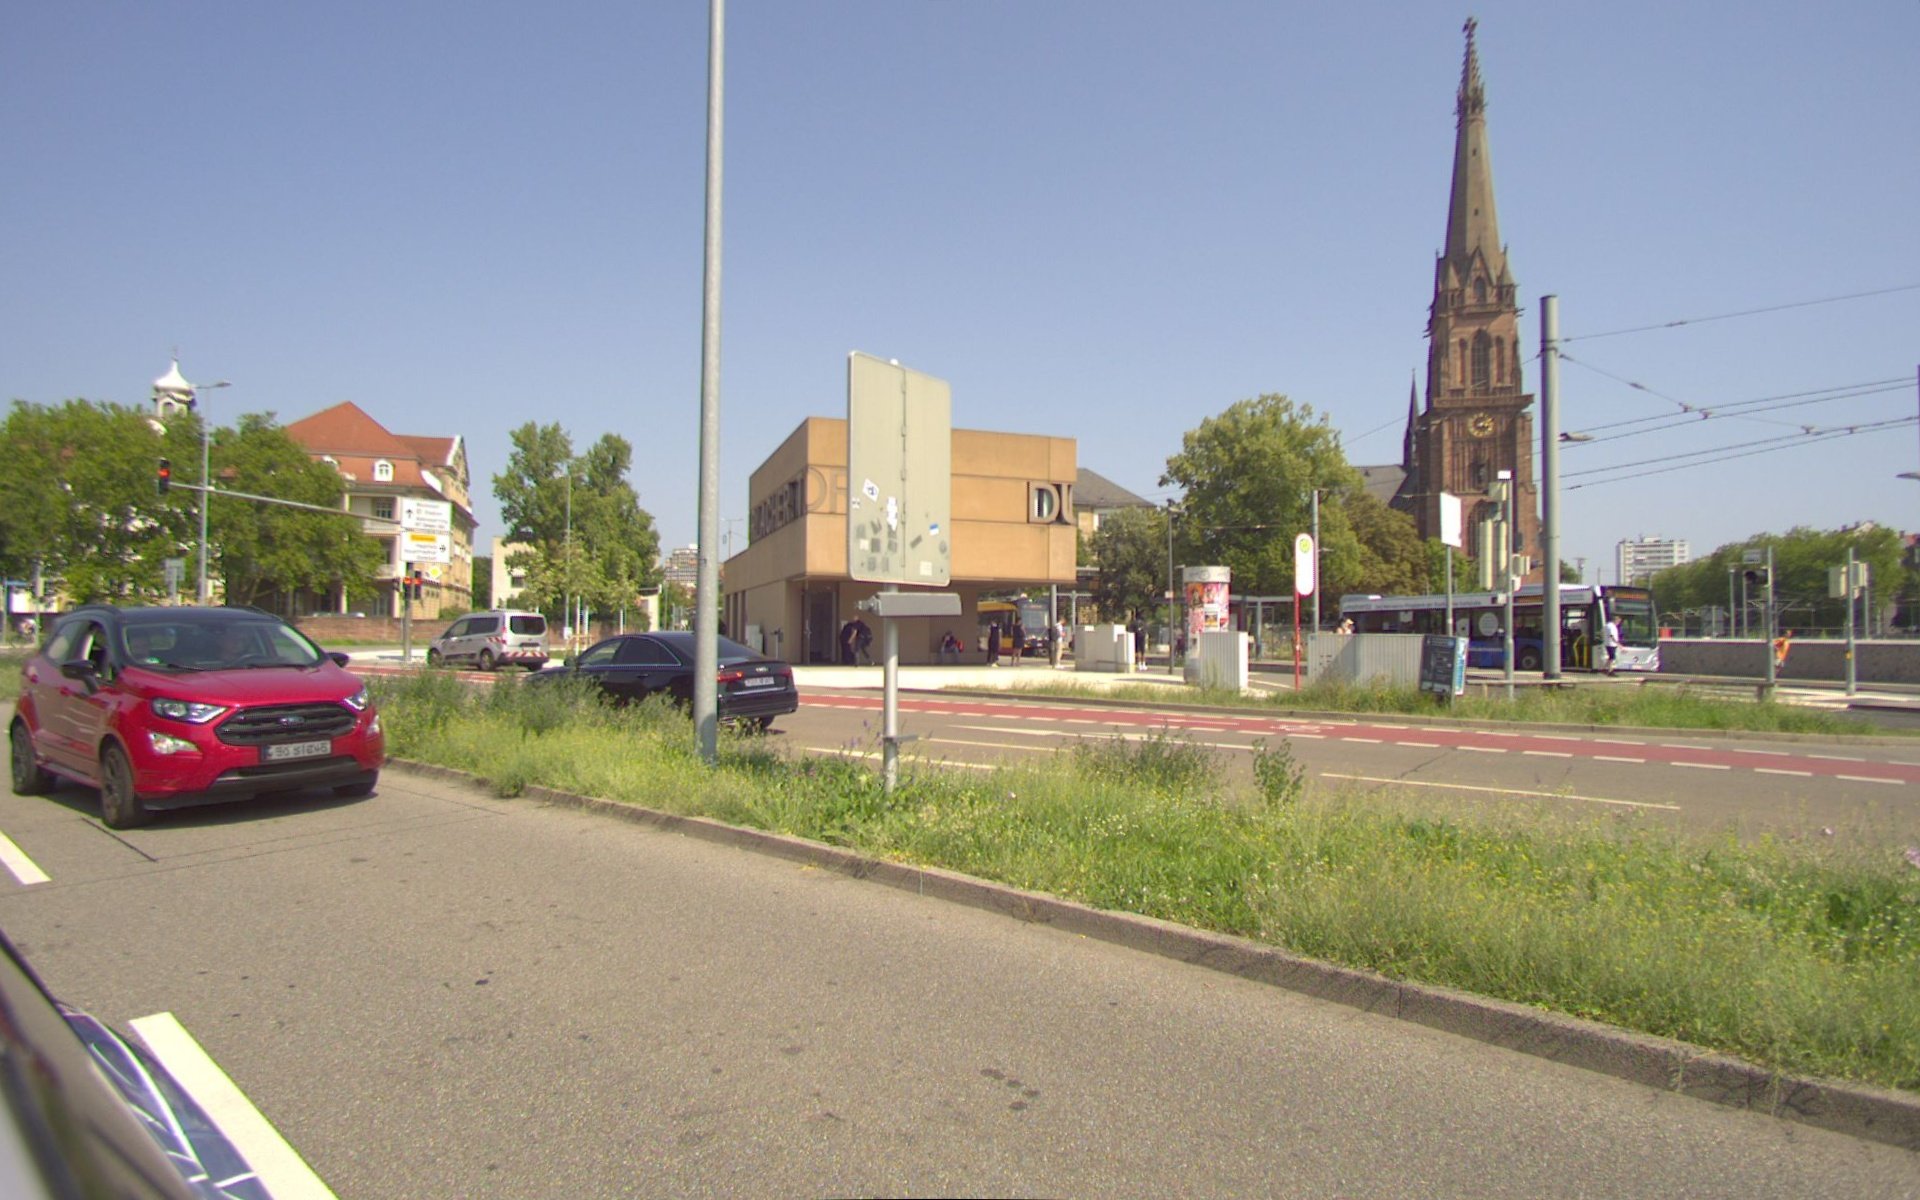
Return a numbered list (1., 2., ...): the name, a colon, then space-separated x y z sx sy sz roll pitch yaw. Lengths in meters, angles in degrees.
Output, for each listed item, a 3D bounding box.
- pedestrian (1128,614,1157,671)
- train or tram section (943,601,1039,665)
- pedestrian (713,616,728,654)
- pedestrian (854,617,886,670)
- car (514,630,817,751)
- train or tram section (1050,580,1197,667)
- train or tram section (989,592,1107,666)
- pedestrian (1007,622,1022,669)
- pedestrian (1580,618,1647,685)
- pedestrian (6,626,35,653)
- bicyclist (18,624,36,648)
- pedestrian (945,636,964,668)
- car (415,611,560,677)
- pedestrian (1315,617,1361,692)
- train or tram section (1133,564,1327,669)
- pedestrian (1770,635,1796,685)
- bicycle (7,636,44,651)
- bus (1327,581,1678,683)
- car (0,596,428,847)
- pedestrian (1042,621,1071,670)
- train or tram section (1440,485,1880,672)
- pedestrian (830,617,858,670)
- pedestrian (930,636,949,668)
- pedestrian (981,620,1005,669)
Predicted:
1. pedestrian: 5.715 1.322 31.692 0.685 1.777 0.553 2 -3 -33
2. train or tram section: 1.775 2.115 62.752 3.107 3.625 8.271 3 -4 -20
3. pedestrian: -10.894 1.581 46.005 0.559 1.691 0.538 1 -3 -20
4. pedestrian: -2.916 1.405 32.773 0.808 1.715 0.638 -1 -3 37
5. car: -4.372 1.176 14.639 4.759 1.421 1.753 -1 0 38
6. train or tram section: 7.405 1.251 47.290 3.090 3.597 8.270 3 -4 -20
7. train or tram section: 4.587 1.695 55.005 3.090 3.597 8.270 3 -4 -20
8. pedestrian: 1.880 1.560 34.860 0.485 1.626 0.509 0 -2 4
9. pedestrian: 19.324 1.513 29.948 1.020 1.900 1.314 2 -3 -18
10. pedestrian: -72.897 3.061 78.536 1.216 2.029 1.073 1 -3 -4
11. bicyclist: -49.778 1.929 53.985 0.429 1.242 0.538 -1 -4 13
12. pedestrian: -0.192 1.806 35.296 0.531 1.092 0.502 1 -2 -20
13. car: -14.571 1.357 31.175 4.320 1.874 1.978 -1 -5 33
14. pedestrian: 8.755 1.251 23.467 0.775 1.715 0.629 0 -2 -7
15. train or tram section: 10.245 0.814 39.561 3.090 3.597 8.270 3 -4 -20
16. pedestrian: 27.037 1.948 33.240 0.457 1.624 0.468 1 -2 -21
17. bicycle: -49.783 2.317 53.929 0.433 0.818 1.480 0 -2 13
18. bus: 18.928 1.193 37.074 3.053 3.094 12.522 1 -2 -19
19. car: -6.385 0.842 8.462 3.990 1.627 1.824 -2 -2 35
20. pedestrian: 3.332 1.565 34.877 0.808 1.682 0.544 -1 -3 37
21. train or tram section: 15.929 -0.174 24.112 3.090 3.597 8.270 3 -4 -20
22. pedestrian: -3.805 1.430 33.205 0.740 1.701 0.630 0 -2 14
23. pedestrian: -0.711 1.801 35.098 0.531 1.092 0.502 1 -2 -20
24. pedestrian: 1.109 1.501 34.141 0.628 1.626 0.694 1 -2 -14
